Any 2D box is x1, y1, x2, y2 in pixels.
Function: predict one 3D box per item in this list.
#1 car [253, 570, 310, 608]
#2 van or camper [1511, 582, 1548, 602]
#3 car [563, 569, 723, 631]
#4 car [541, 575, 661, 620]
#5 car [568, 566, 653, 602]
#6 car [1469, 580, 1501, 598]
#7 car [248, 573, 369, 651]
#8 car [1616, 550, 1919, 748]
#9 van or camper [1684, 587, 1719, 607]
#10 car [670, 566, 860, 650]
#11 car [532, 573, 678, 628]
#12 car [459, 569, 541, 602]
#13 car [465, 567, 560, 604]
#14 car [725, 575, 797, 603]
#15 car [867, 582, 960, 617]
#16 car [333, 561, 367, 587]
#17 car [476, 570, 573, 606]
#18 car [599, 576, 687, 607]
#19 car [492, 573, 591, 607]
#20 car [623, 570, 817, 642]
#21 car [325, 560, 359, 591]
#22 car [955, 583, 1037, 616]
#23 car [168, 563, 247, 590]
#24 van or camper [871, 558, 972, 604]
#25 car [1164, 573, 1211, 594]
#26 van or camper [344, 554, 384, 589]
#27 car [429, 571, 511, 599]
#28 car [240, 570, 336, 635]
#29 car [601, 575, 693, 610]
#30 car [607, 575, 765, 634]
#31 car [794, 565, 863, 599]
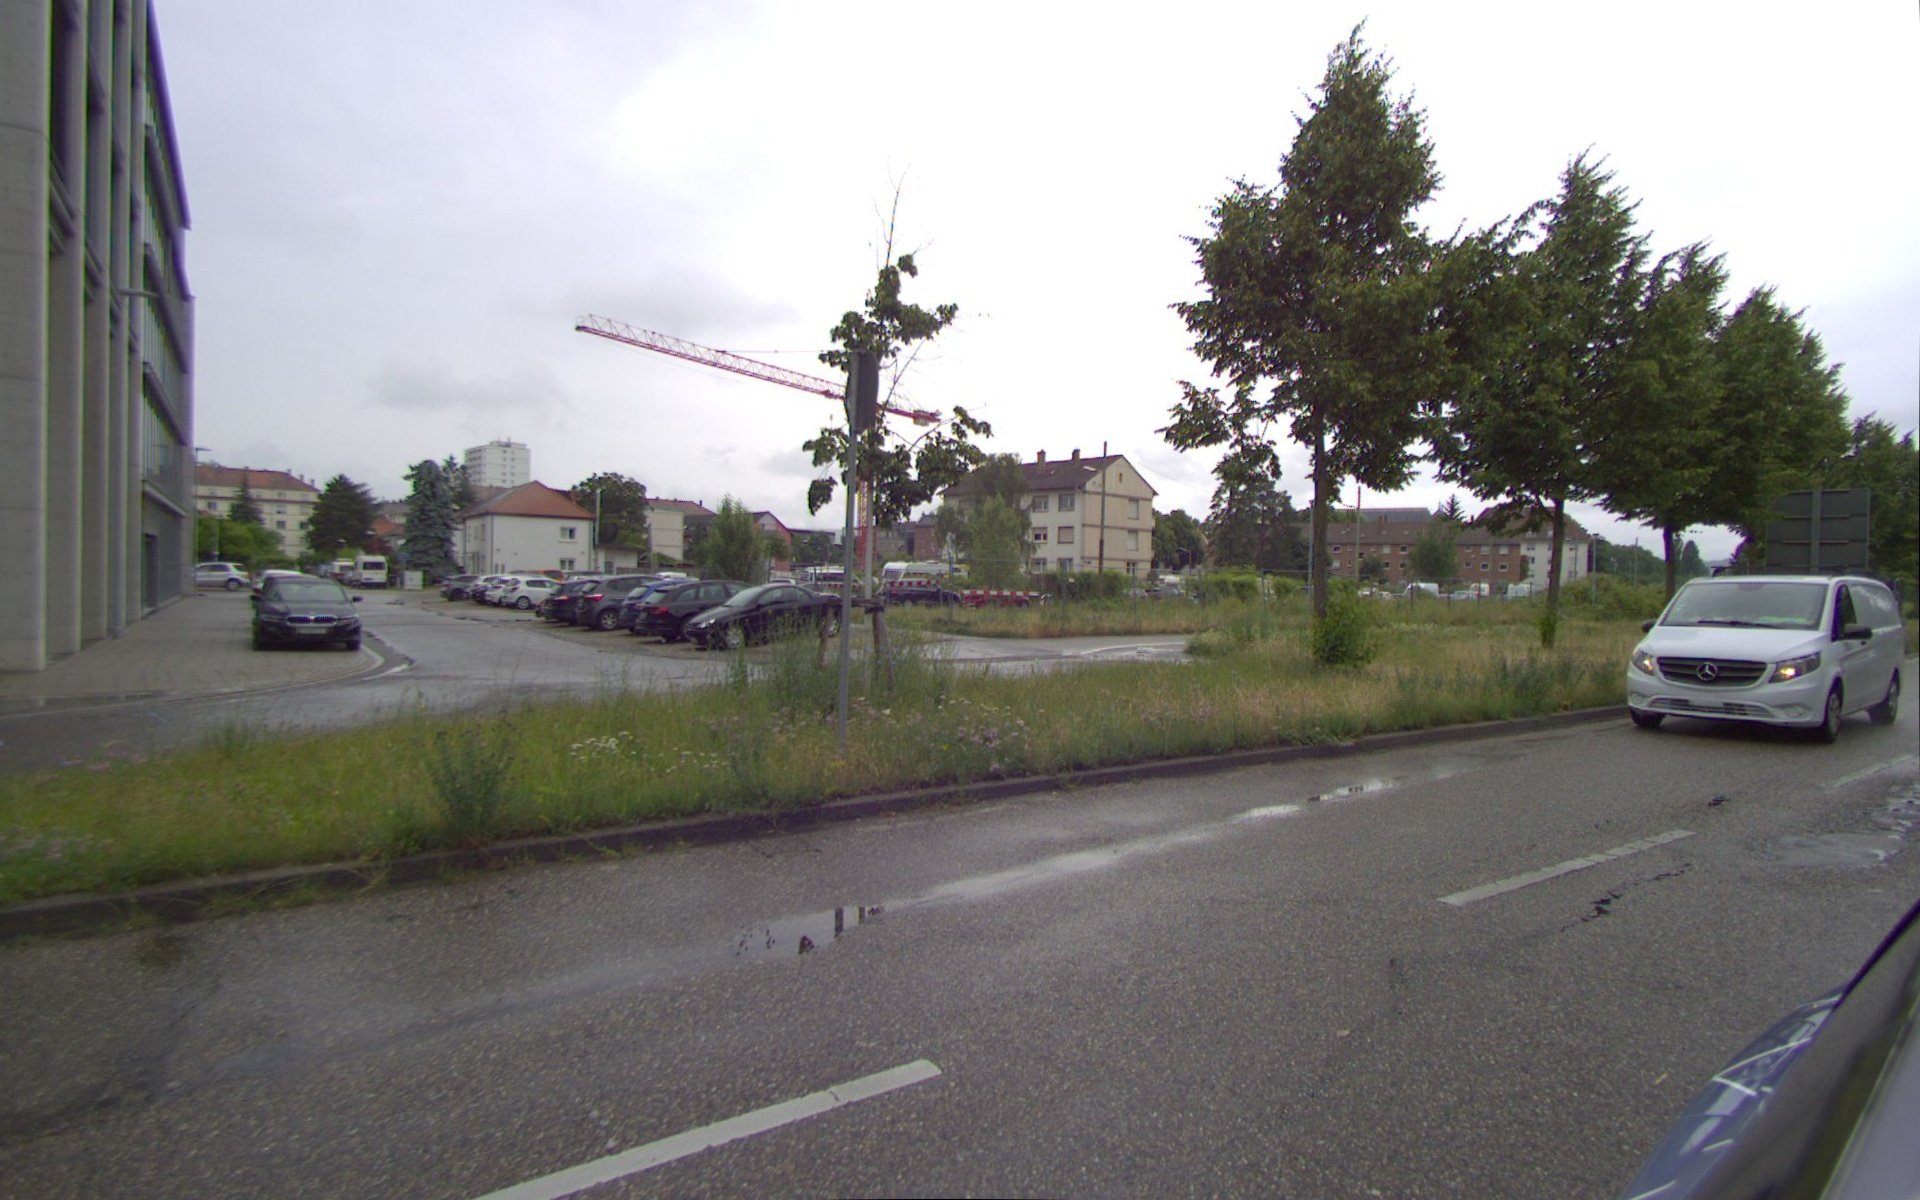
[{"bbox_3d":[-27.860,-0.477,41.501,1.825,1.456,4.000,2,0,-35],"label":"car"},{"bbox_3d":[68.632,-0.975,121.859,6.045,2.337,2.204,0,0,-44],"label":"van or camper"},{"bbox_3d":[-9.779,-0.059,31.326,4.334,1.621,1.861,-4,4,-35],"label":"car"},{"bbox_3d":[-13.530,-0.098,38.215,3.924,1.621,1.861,1,1,-36],"label":"car"},{"bbox_3d":[-18.650,-0.893,54.011,3.955,1.732,1.703,-4,3,-33],"label":"car"},{"bbox_3d":[67.047,-1.379,129.229,4.682,2.247,2.273,1,1,-45],"label":"car"},{"bbox_3d":[-13.977,0.217,21.617,1.943,1.456,4.233,3,0,-35],"label":"car"},{"bbox_3d":[10.221,0.465,12.567,4.999,2.004,1.972,0,1,-39],"label":"car"},{"bbox_3d":[113.820,-0.394,155.392,5.400,3.073,2.349,0,-1,-30],"label":"van or camper"},{"bbox_3d":[-4.576,0.132,23.918,3.925,1.599,1.862,-5,3,-33],"label":"car"},{"bbox_3d":[-11.631,-0.034,33.242,4.152,1.492,1.792,-4,4,-35],"label":"car"},{"bbox_3d":[-25.497,-0.819,56.177,3.730,1.621,1.857,-5,4,-43],"label":"car"},{"bbox_3d":[-22.563,-0.763,51.094,3.967,1.621,1.857,-5,4,-43],"label":"car"},{"bbox_3d":[-12.041,-0.671,61.383,3.961,1.601,1.700,0,1,-40],"label":"car"},{"bbox_3d":[-2.249,-0.037,49.098,4.152,1.621,1.861,1,1,-36],"label":"car"},{"bbox_3d":[-50.677,-2.150,84.068,1.963,2.039,3.996,1,0,-38],"label":"car"},{"bbox_3d":[-21.333,-0.613,49.634,3.967,1.514,1.857,-5,4,-43],"label":"car"},{"bbox_3d":[-16.311,-0.462,52.085,3.960,1.369,1.701,-4,4,-37],"label":"car"},{"bbox_3d":[-19.812,-0.514,48.027,3.965,1.369,1.698,-5,4,-42],"label":"car"},{"bbox_3d":[-6.170,0.090,26.245,4.473,1.472,1.861,-5,4,-35],"label":"car"},{"bbox_3d":[-58.543,-2.318,95.861,2.186,2.817,4.501,1,0,-38],"label":"car"},{"bbox_3d":[1.899,-0.015,53.032,3.924,1.621,1.861,1,1,-36],"label":"car"},{"bbox_3d":[-47.774,-1.468,64.268,3.930,1.602,1.858,0,1,-41],"label":"car"},{"bbox_3d":[-2.633,-1.289,70.213,6.658,3.031,2.912,0,1,-41],"label":"van or camper"},{"bbox_3d":[23.042,-1.670,102.382,5.121,1.916,2.165,0,5,-45],"label":"car"},{"bbox_3d":[-46.643,-2.190,79.141,2.054,2.617,5.629,1,1,-37],"label":"van or camper"},{"bbox_3d":[-29.179,-0.913,60.297,3.967,1.472,1.857,-5,4,-43],"label":"car"},{"bbox_3d":[-17.599,0.028,26.445,1.826,1.507,3.999,3,-1,-36],"label":"car"},{"bbox_3d":[-15.406,-0.390,49.902,3.963,1.463,1.699,-4,4,-40],"label":"car"},{"bbox_3d":[-7.774,0.079,28.792,3.925,1.472,1.861,-3,3,-35],"label":"car"},{"bbox_3d":[-8.378,-1.137,64.815,4.090,2.030,1.700,1,1,-40],"label":"car"}]
